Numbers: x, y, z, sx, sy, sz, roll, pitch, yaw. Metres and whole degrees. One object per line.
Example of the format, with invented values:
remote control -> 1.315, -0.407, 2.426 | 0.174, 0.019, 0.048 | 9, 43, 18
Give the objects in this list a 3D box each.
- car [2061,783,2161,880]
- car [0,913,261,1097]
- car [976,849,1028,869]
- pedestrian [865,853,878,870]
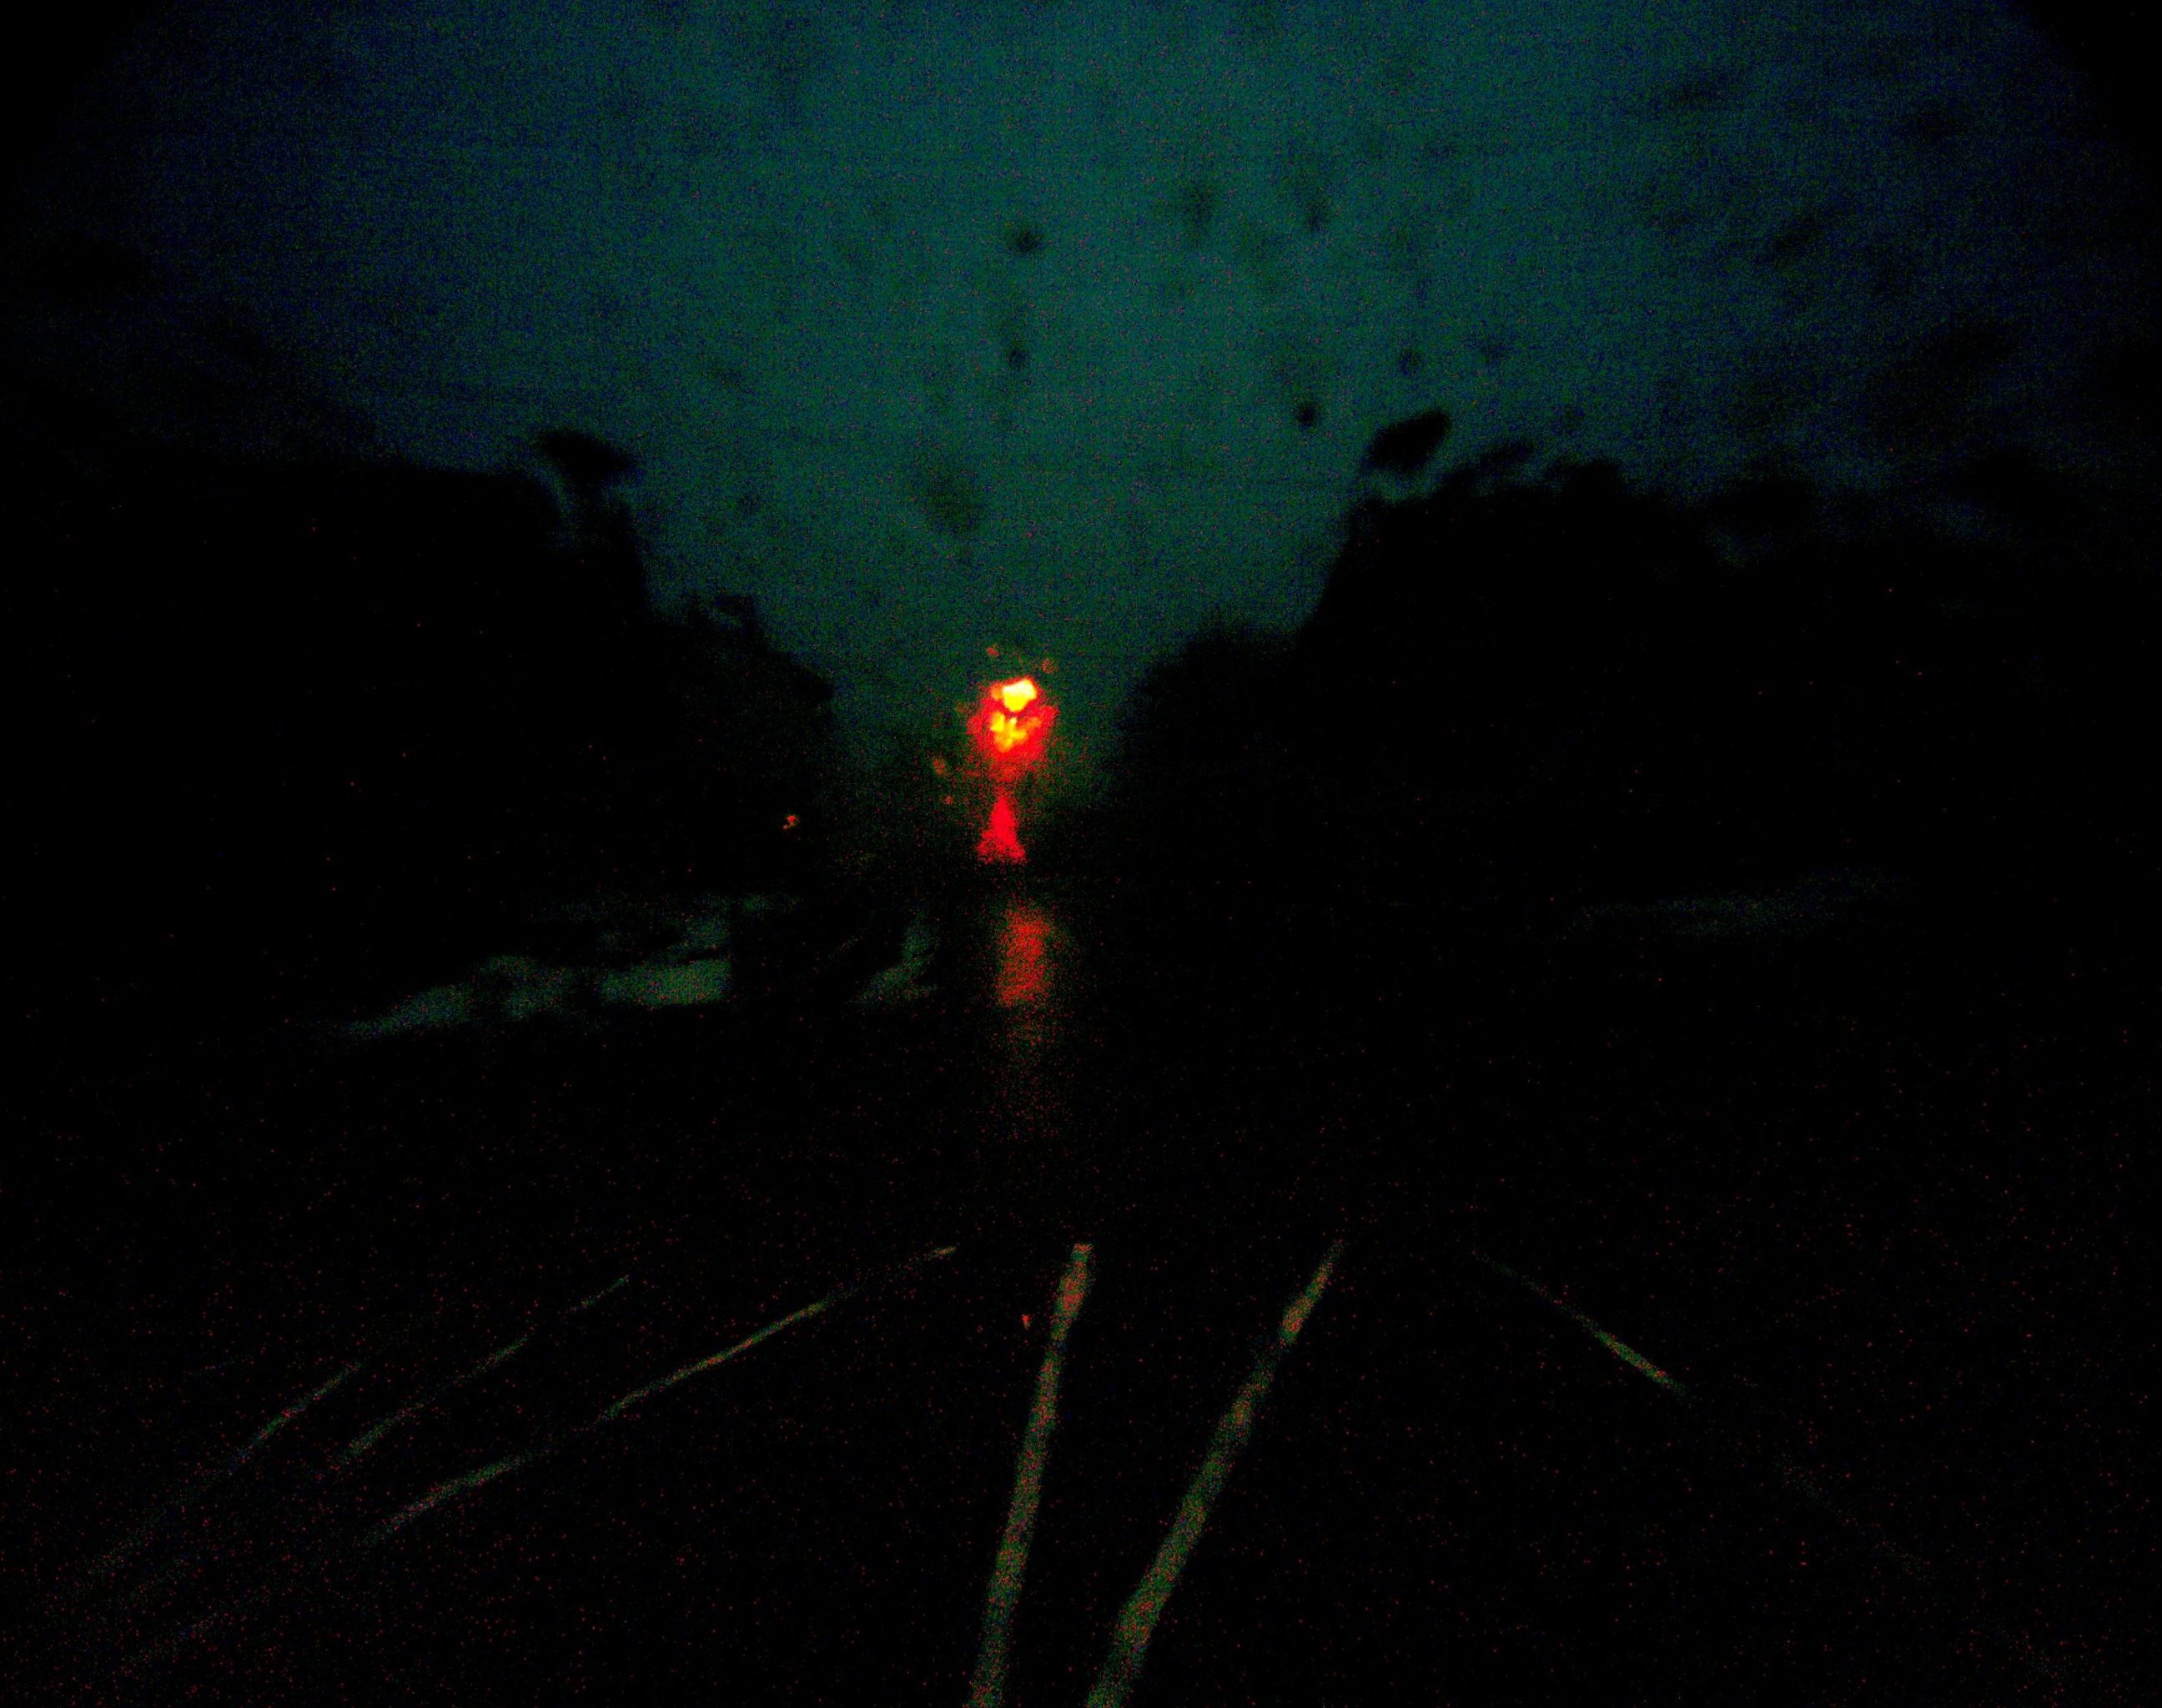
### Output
car -> 18.821, -0.459, 12.546 | 4.002, 1.521, 1.996 | -3, 2, -18
car -> -10.382, 1.459, 7.937 | 3.990, 1.365, 1.761 | -5, 0, 33
car -> -6.430, 0.382, 61.802 | 3.793, 1.365, 1.622 | -3, 2, -31
pedestrian -> -17.352, 0.604, 63.047 | 0.812, 1.322, 0.658 | -3, 2, -34
